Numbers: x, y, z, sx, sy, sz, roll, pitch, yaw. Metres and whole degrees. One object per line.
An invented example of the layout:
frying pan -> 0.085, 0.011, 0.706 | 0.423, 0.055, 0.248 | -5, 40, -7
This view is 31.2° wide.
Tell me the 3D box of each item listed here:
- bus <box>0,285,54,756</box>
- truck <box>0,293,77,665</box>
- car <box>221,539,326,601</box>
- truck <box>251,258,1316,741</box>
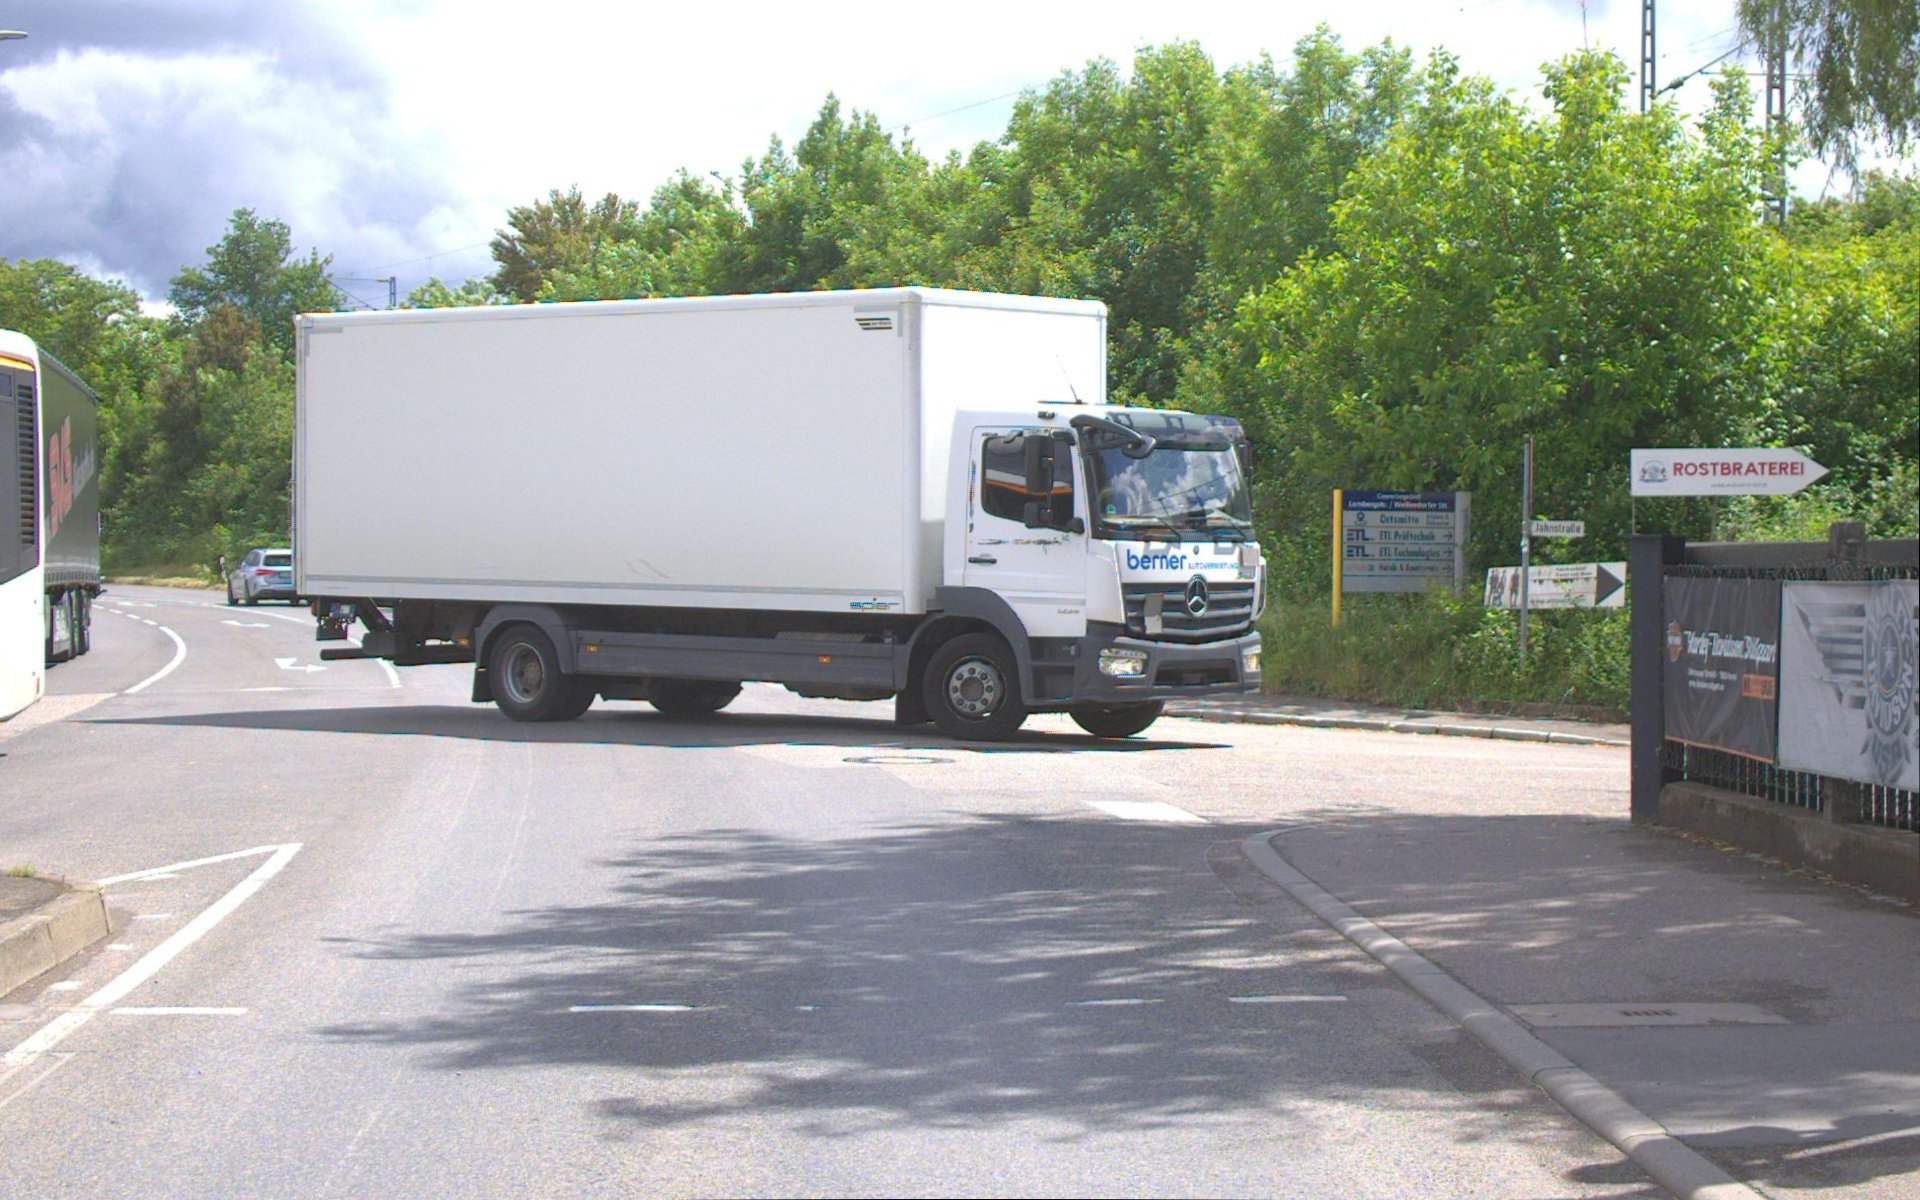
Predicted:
bus -> -7.950, -0.481, 19.073 | 2.777, 3.255, 12.124 | -1, 1, -1
truck -> -12.175, -1.388, 40.181 | 2.428, 4.117, 9.152 | 2, 0, -8
car -> -17.467, -0.779, 87.401 | 1.884, 1.503, 4.001 | 0, 1, -22
truck -> -1.820, -0.818, 29.322 | 9.715, 3.528, 2.842 | 1, 1, 40
